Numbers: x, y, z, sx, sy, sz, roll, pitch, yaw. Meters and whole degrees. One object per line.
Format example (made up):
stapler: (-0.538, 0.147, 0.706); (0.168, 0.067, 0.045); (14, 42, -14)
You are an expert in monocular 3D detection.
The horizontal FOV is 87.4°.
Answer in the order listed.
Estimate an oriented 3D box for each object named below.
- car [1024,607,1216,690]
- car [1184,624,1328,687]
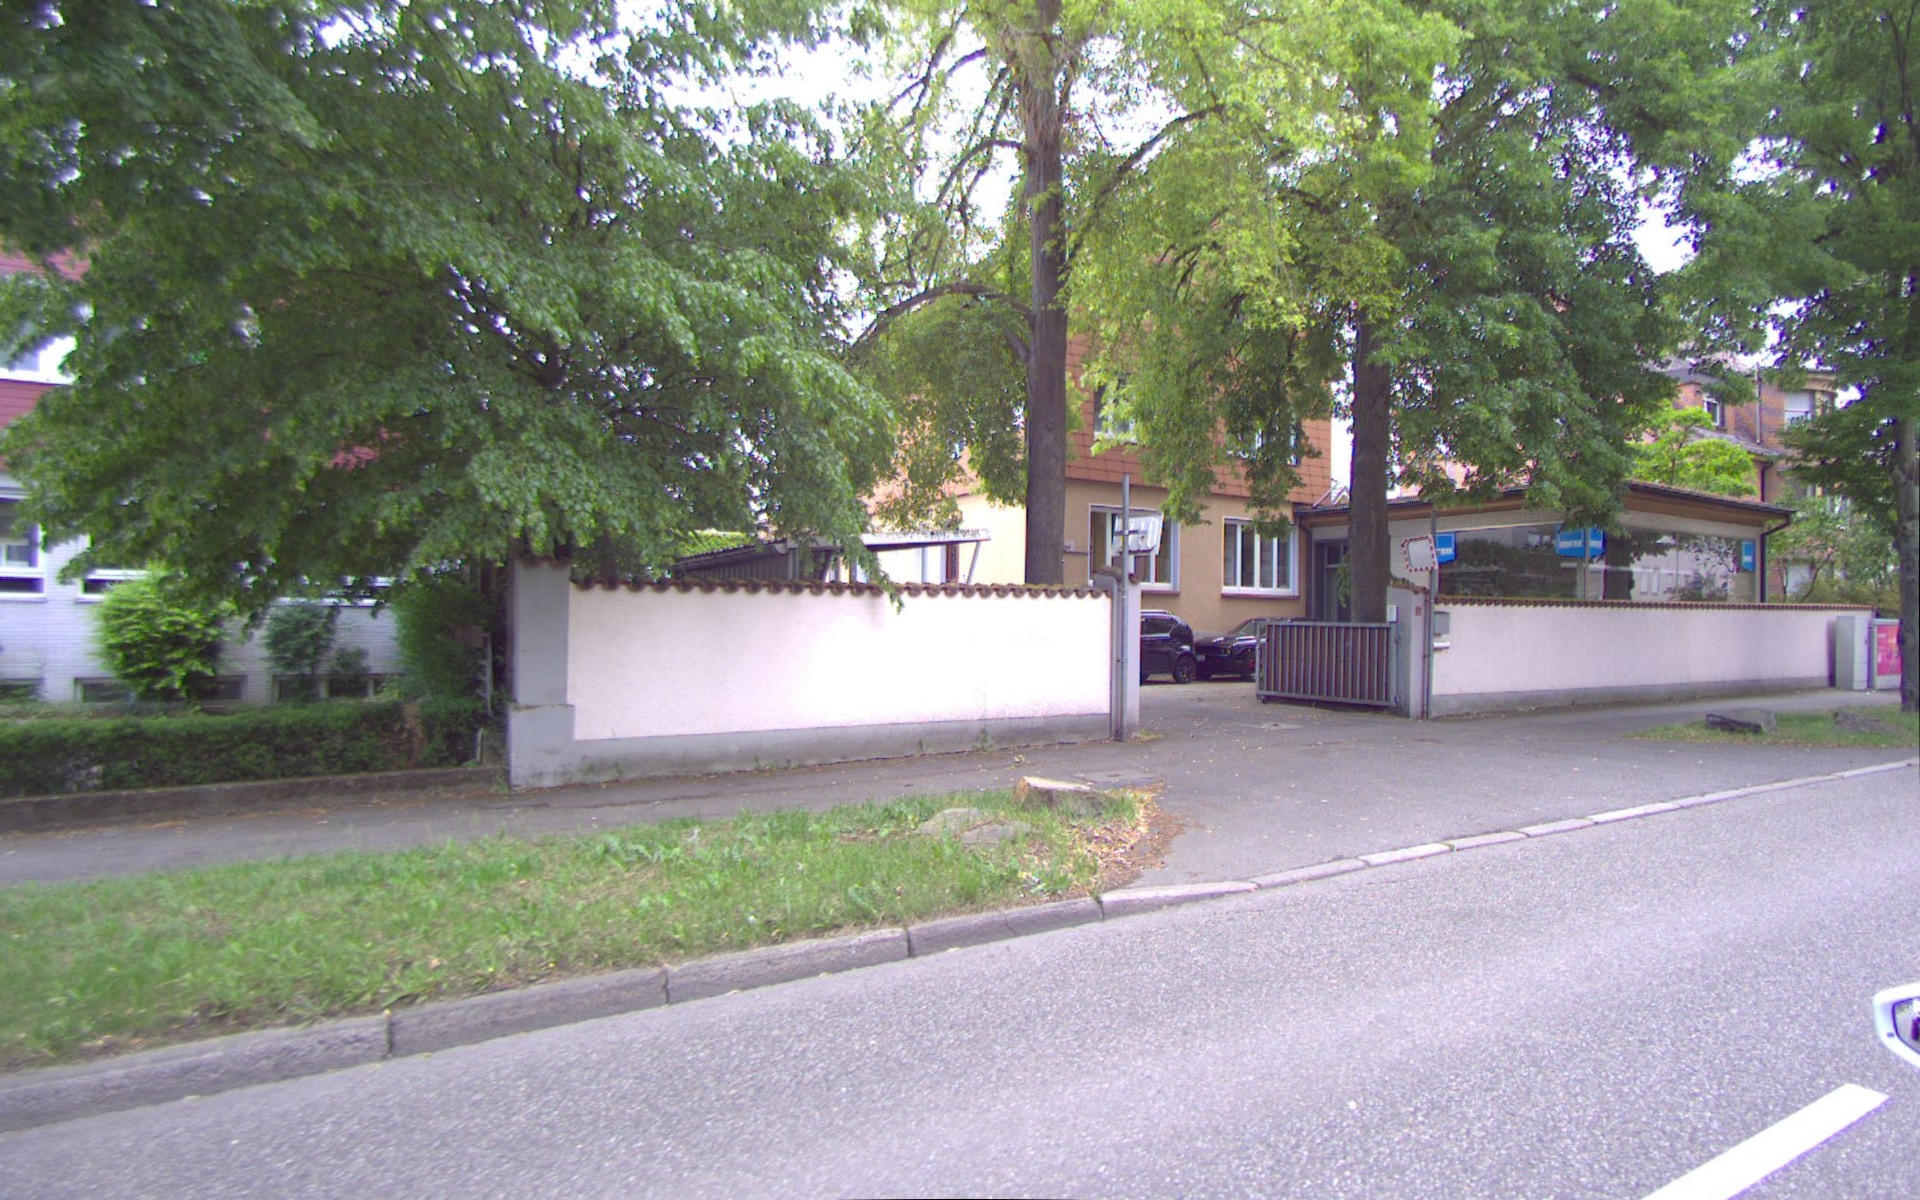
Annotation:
car: (3.537, 1.026, 22.060); (3.955, 1.662, 1.771); (1, 0, -31)
car: (6.952, 1.272, 23.541); (3.359, 1.347, 1.333); (1, 0, -32)
